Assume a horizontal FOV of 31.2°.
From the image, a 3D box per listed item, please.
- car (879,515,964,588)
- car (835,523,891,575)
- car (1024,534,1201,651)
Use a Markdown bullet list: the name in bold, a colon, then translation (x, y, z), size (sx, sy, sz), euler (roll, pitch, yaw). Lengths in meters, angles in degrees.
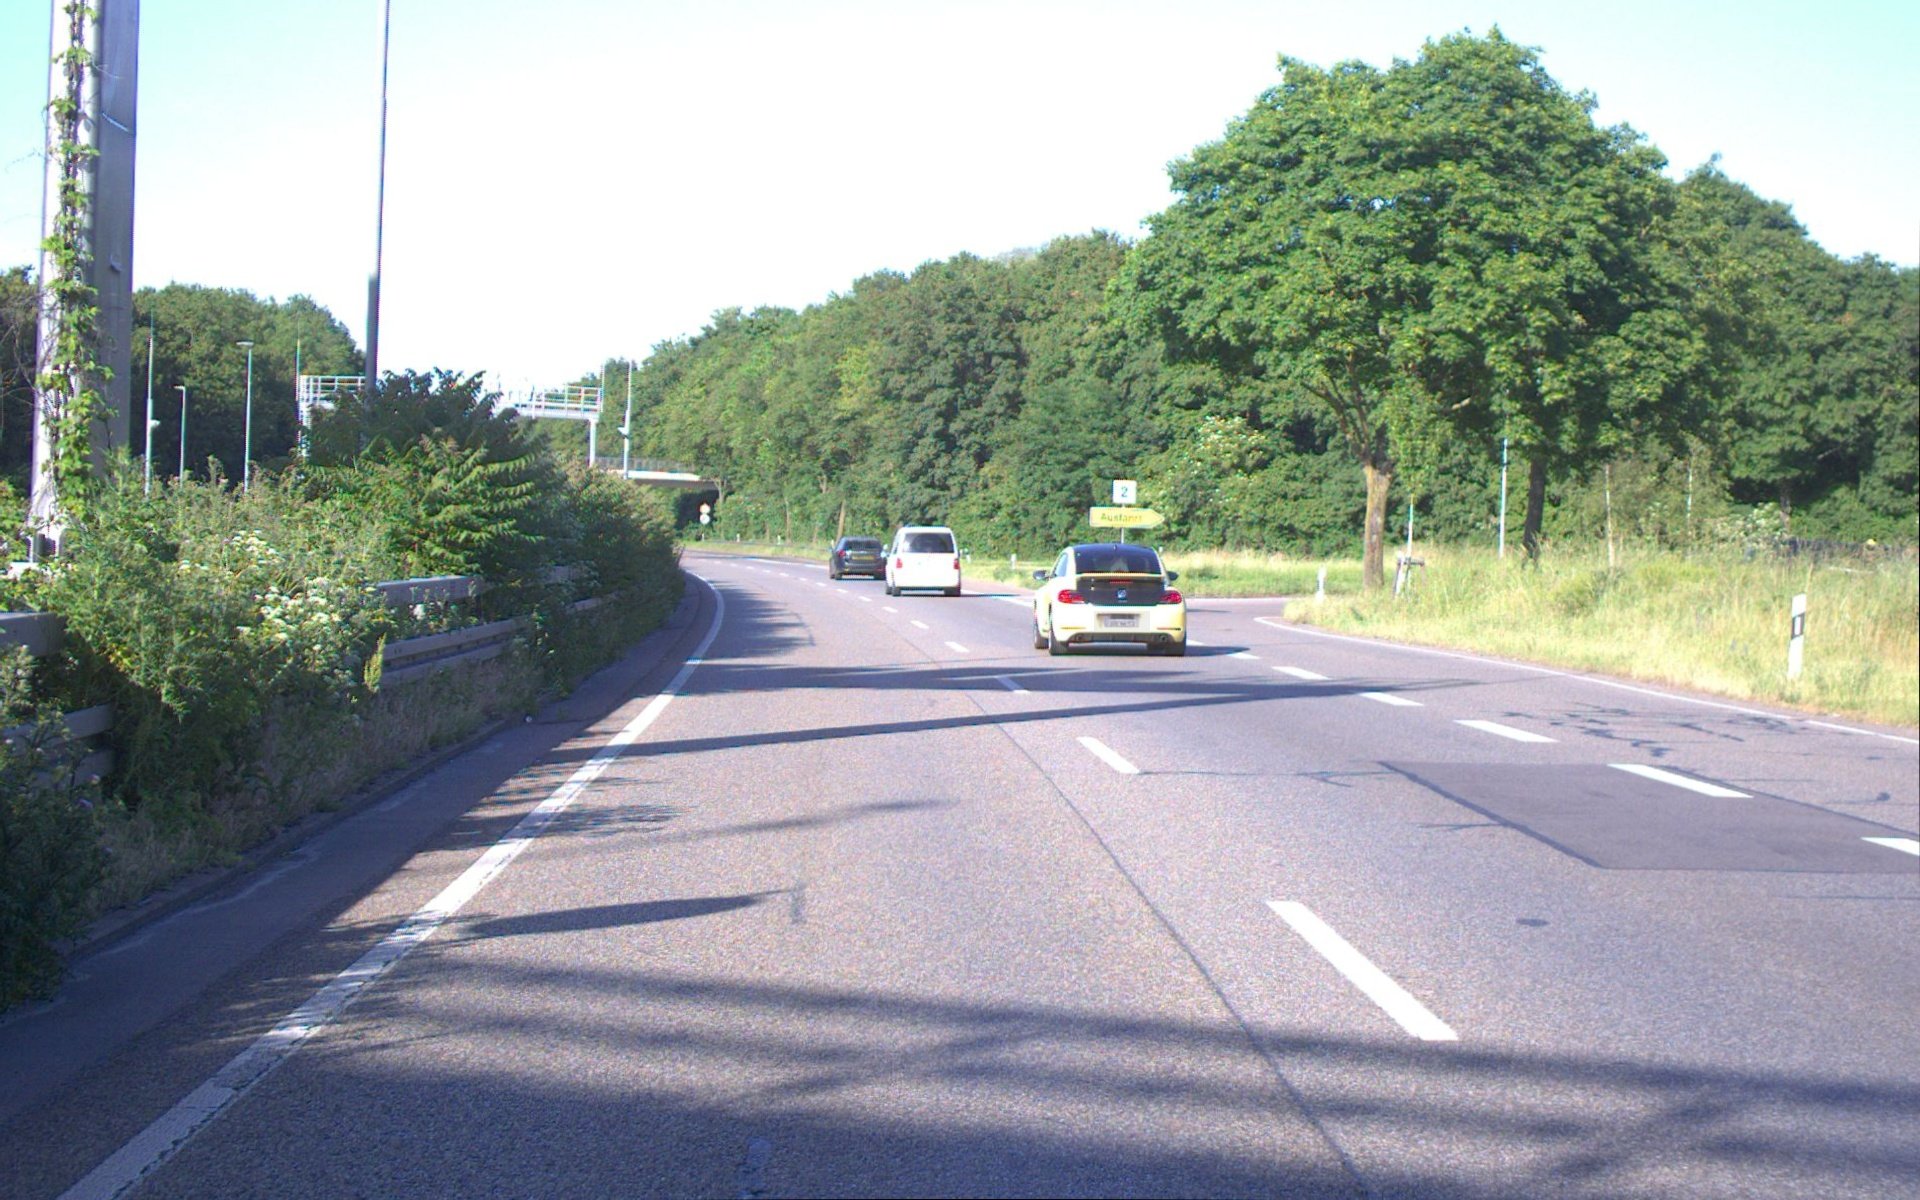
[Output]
- **car**: translation (-1.024, -1.225, 88.864), size (1.897, 1.761, 4.000), euler (2, -1, -4)
- **car**: translation (-3.351, -1.787, 119.296), size (1.897, 1.761, 4.000), euler (1, 1, -1)
- **car**: translation (2.000, -0.135, 46.196), size (1.897, 1.466, 4.001), euler (1, 1, -4)
